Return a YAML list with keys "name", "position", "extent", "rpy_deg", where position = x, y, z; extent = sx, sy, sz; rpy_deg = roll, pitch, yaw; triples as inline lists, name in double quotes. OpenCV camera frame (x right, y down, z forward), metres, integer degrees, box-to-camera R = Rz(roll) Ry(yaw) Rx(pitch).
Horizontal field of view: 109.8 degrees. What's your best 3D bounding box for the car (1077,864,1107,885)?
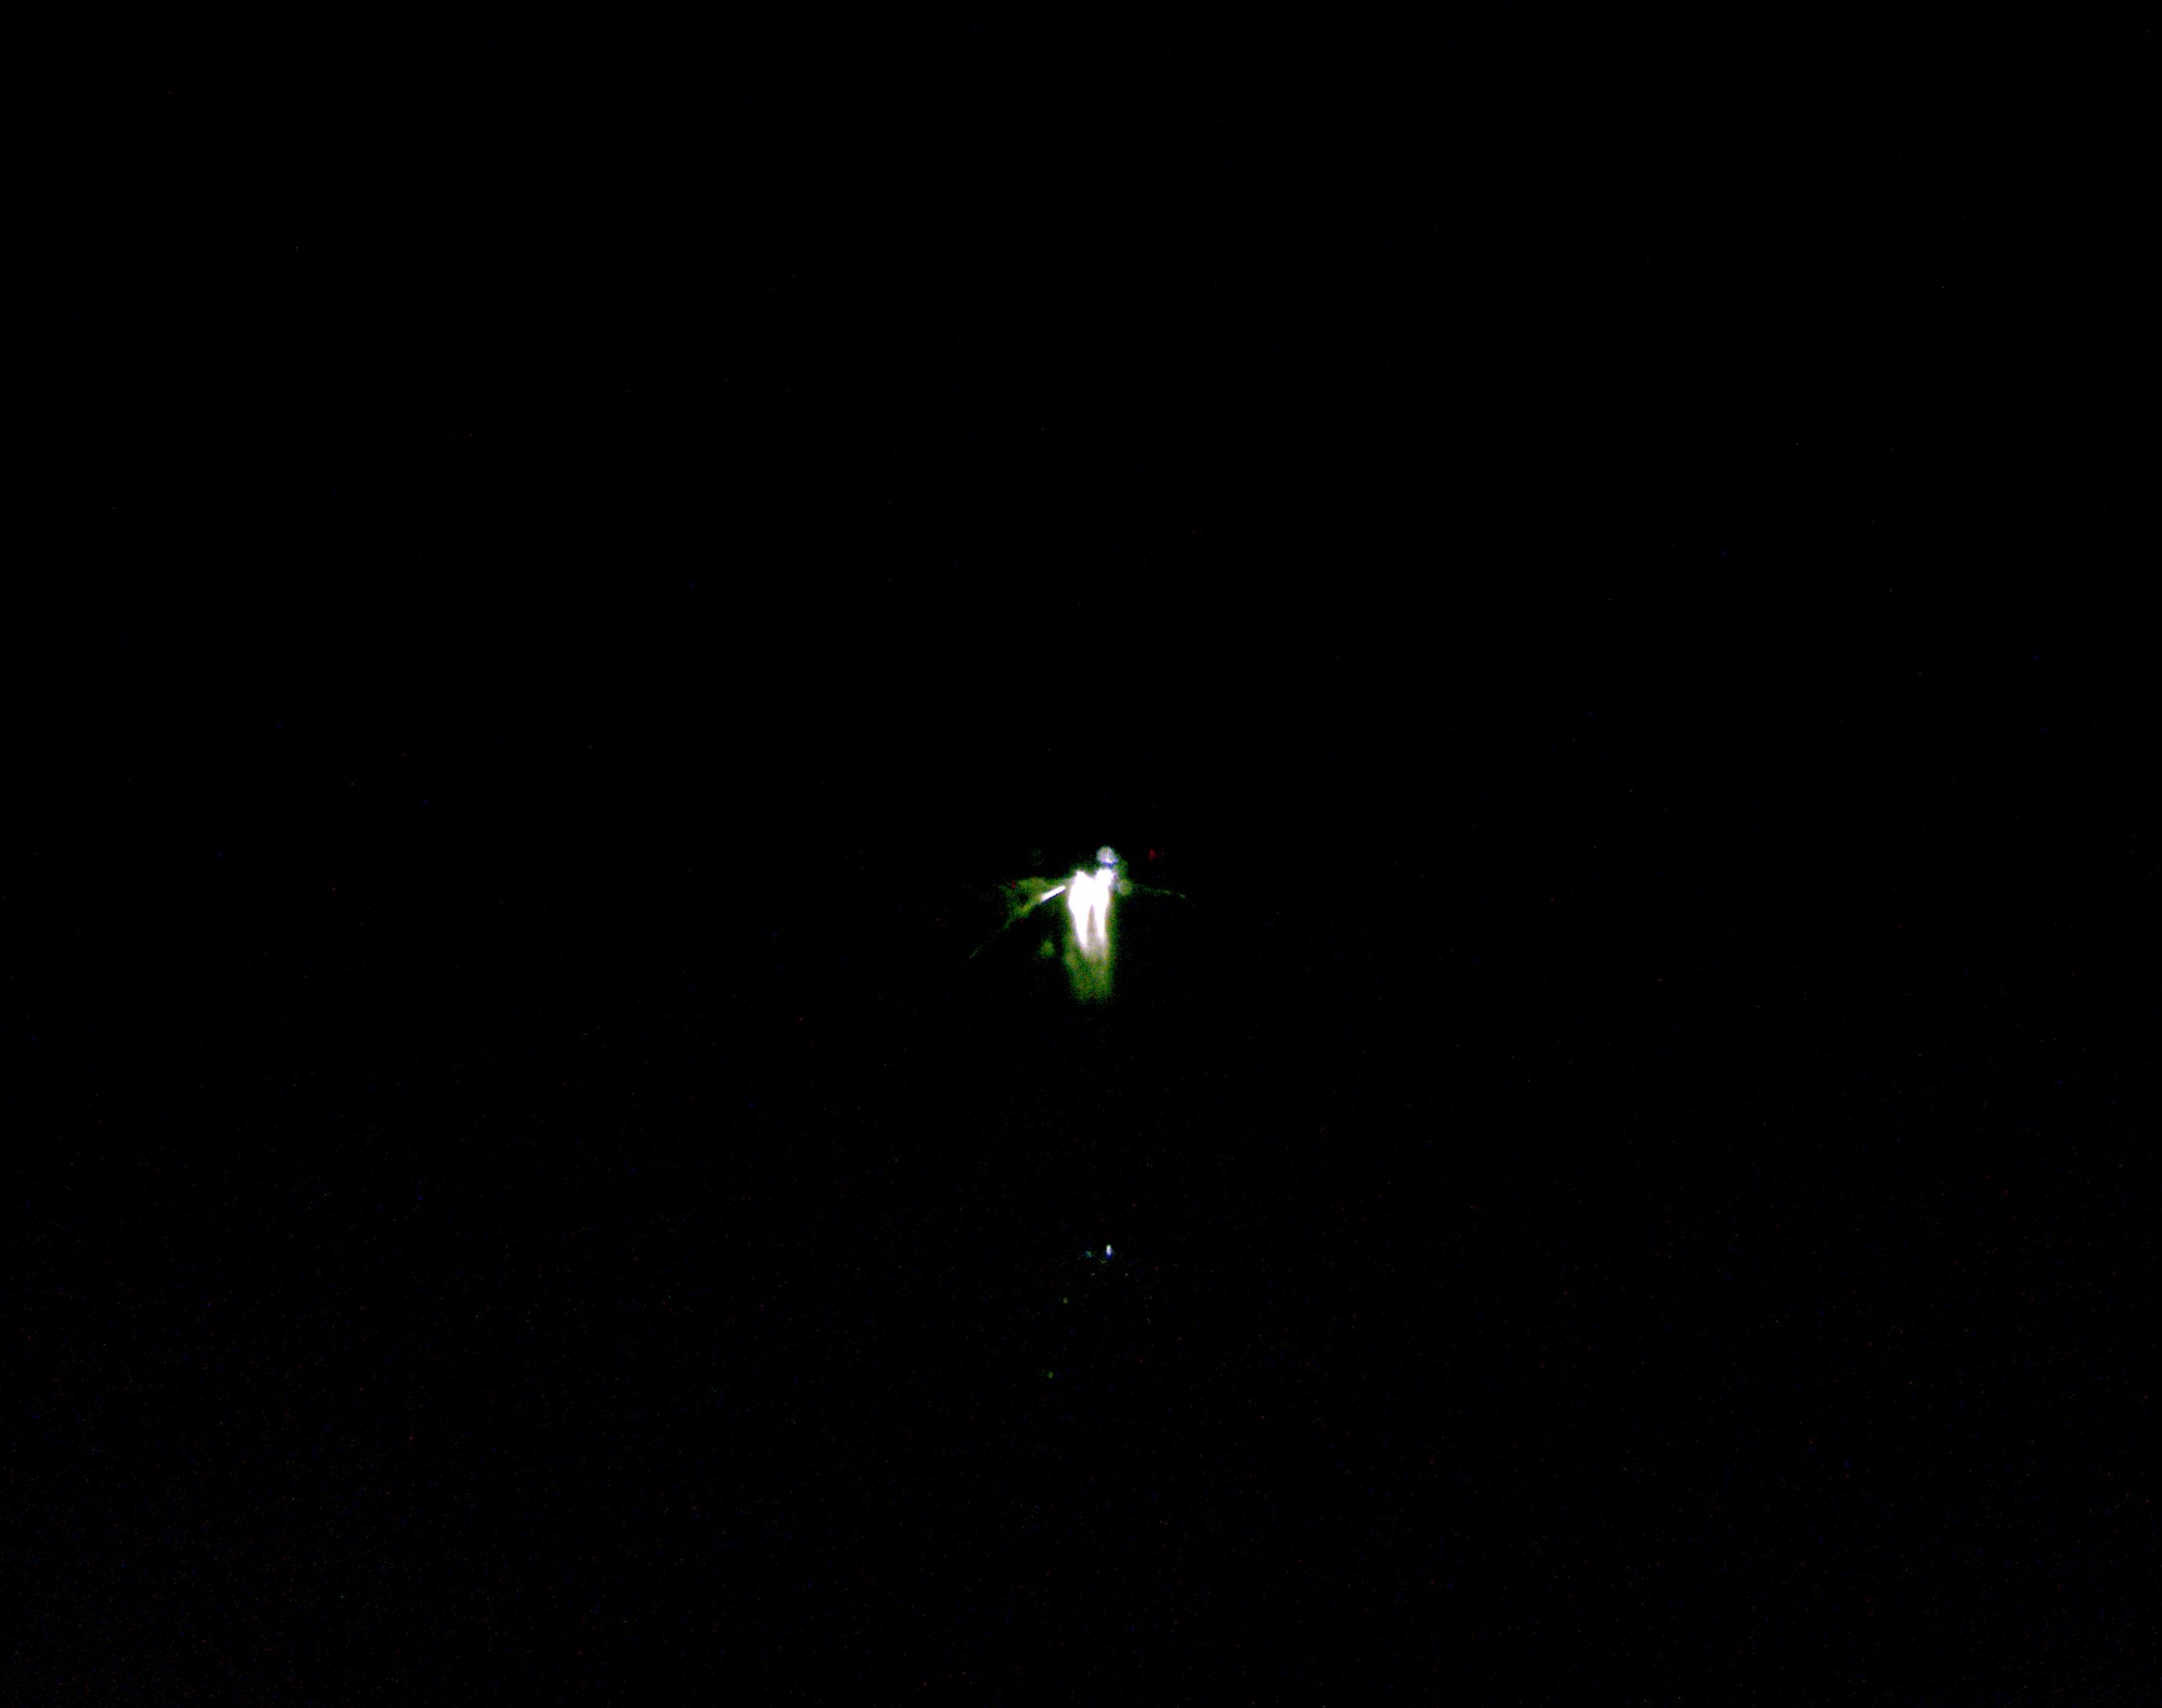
- name: "car"
  position: [0.940, 1.654, 61.992]
  extent: [1.997, 1.412, 4.002]
  rpy_deg: [-2, 1, 7]
